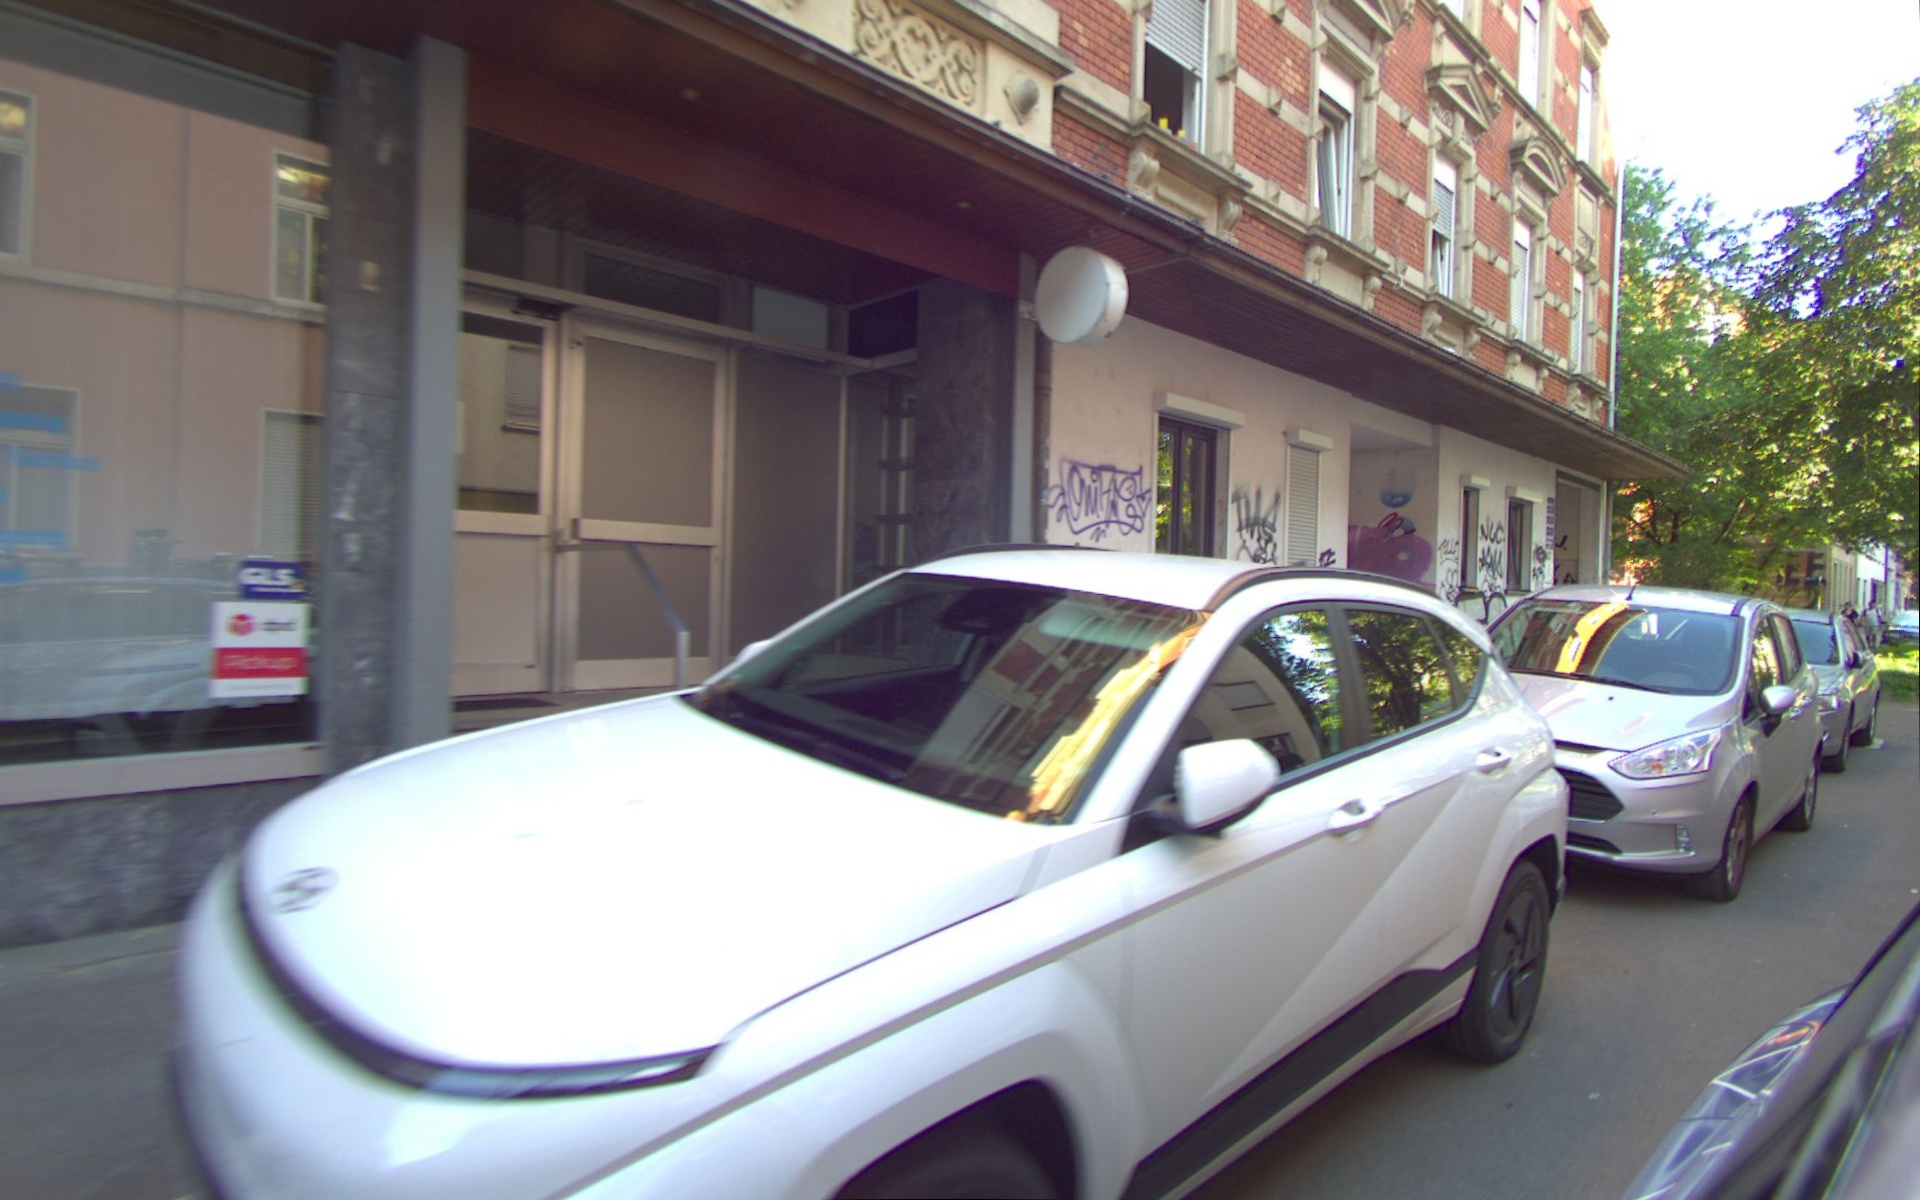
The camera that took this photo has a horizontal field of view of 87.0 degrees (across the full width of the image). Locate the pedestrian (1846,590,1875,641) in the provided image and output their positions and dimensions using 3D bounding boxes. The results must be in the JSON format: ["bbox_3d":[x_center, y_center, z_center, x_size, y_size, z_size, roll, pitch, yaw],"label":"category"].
[{"bbox_3d":[31.863,0.549,35.810,0.695,1.729,0.598,1,4,-44],"label":"pedestrian"}]

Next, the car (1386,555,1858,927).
[{"bbox_3d":[4.387,0.612,6.466,3.804,1.677,1.642,0,1,-43],"label":"car"}]

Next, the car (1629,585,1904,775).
[{"bbox_3d":[8.694,0.694,10.759,4.325,1.581,1.723,1,1,-44],"label":"car"}]

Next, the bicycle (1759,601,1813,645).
[{"bbox_3d":[25.451,0.699,31.163,2.645,1.283,0.848,1,1,-42],"label":"bicycle"}]

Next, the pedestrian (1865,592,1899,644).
[{"bbox_3d":[32.603,0.629,35.789,0.740,1.729,0.711,1,4,-44],"label":"pedestrian"}]

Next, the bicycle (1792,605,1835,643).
[{"bbox_3d":[29.393,0.819,34.855,1.947,1.215,0.848,1,1,-42],"label":"bicycle"}]

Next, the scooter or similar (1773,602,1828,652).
[{"bbox_3d":[23.088,0.726,27.819,0.538,1.277,1.466,3,2,15],"label":"scooter or similar"}]

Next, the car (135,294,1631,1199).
[{"bbox_3d":[0.355,0.544,3.012,4.267,1.696,1.749,0,2,-43],"label":"car"}]

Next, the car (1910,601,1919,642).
[{"bbox_3d":[40.002,0.909,41.255,3.701,1.604,1.595,1,3,-44],"label":"car"}]

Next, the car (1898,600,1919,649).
[{"bbox_3d":[32.837,0.840,34.030,1.722,1.511,4.344,6,4,44],"label":"car"}]

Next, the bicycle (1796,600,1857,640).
[{"bbox_3d":[31.333,0.704,36.589,2.286,1.317,1.294,1,3,-41],"label":"bicycle"}]
